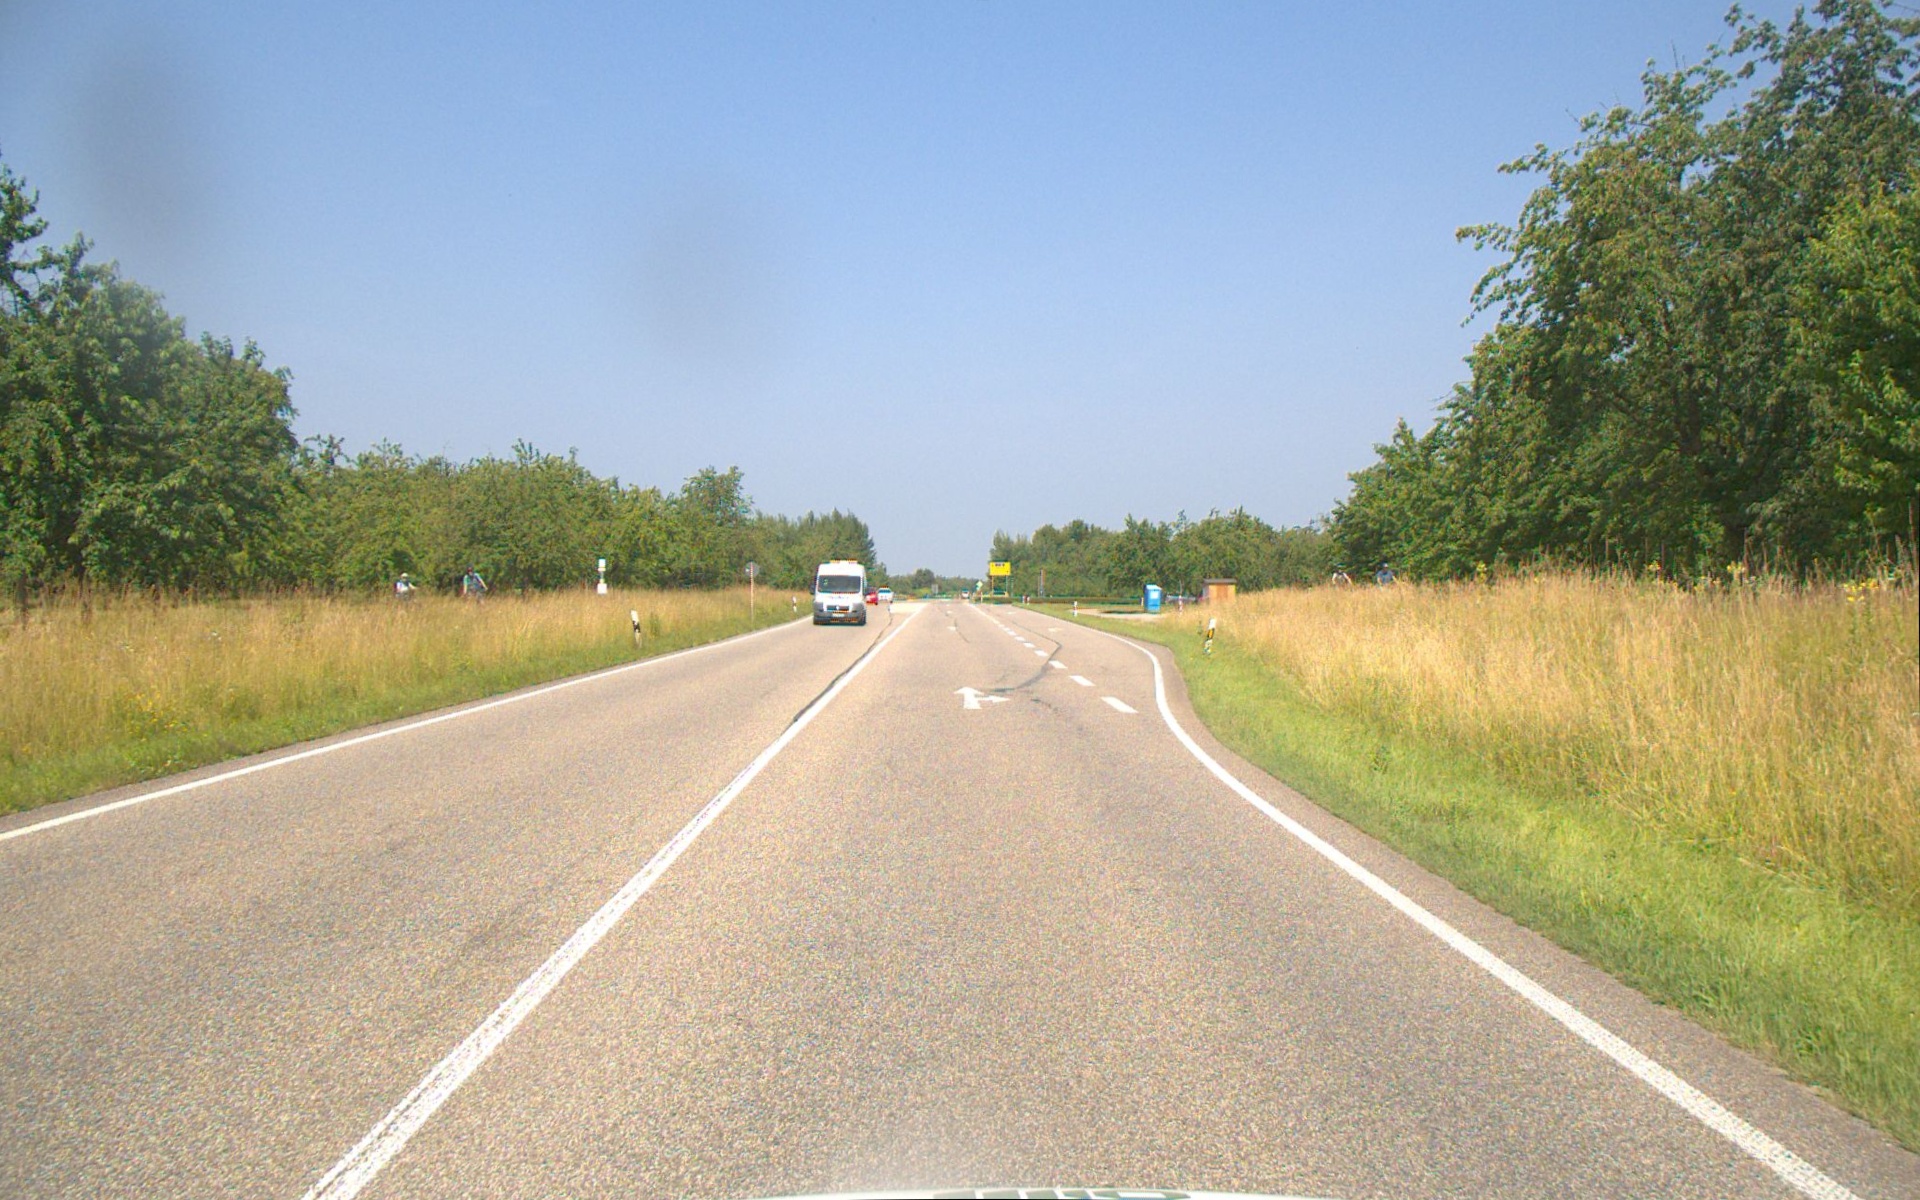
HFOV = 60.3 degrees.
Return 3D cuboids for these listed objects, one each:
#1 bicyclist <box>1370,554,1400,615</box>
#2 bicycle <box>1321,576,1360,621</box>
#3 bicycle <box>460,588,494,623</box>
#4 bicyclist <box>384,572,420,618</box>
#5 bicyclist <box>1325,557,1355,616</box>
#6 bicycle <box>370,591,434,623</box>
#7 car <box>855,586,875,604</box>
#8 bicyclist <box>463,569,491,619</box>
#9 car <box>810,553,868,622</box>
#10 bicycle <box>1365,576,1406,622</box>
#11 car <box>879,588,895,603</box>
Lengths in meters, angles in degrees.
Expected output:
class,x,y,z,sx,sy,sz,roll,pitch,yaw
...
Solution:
class,x,y,z,sx,sy,sz,roll,pitch,yaw
bicyclist,13.890,-0.505,54.056,0.734,1.963,0.827,-1,0,-1
bicycle,12.467,-0.063,54.228,0.734,1.443,2.221,-1,0,-1
bicycle,-14.266,0.174,48.798,0.641,1.006,1.939,1,-1,-26
bicyclist,-17.981,-0.160,53.304,0.845,1.480,0.741,0,-1,33
bicyclist,12.470,-0.449,54.248,0.734,1.899,0.869,-1,0,-1
bicycle,-17.984,0.223,53.298,2.178,1.006,0.740,0,-1,33
car,-7.957,-0.401,138.918,1.592,1.482,3.620,1,0,-2
bicyclist,-14.258,-0.174,48.802,0.633,1.439,0.856,1,-1,-26
car,-4.964,-0.489,68.678,2.117,2.715,6.141,1,0,-2
bicycle,13.893,-0.047,54.047,0.734,1.443,2.221,-1,0,-1
car,-7.588,-0.512,171.805,1.641,1.520,4.135,1,0,-3
